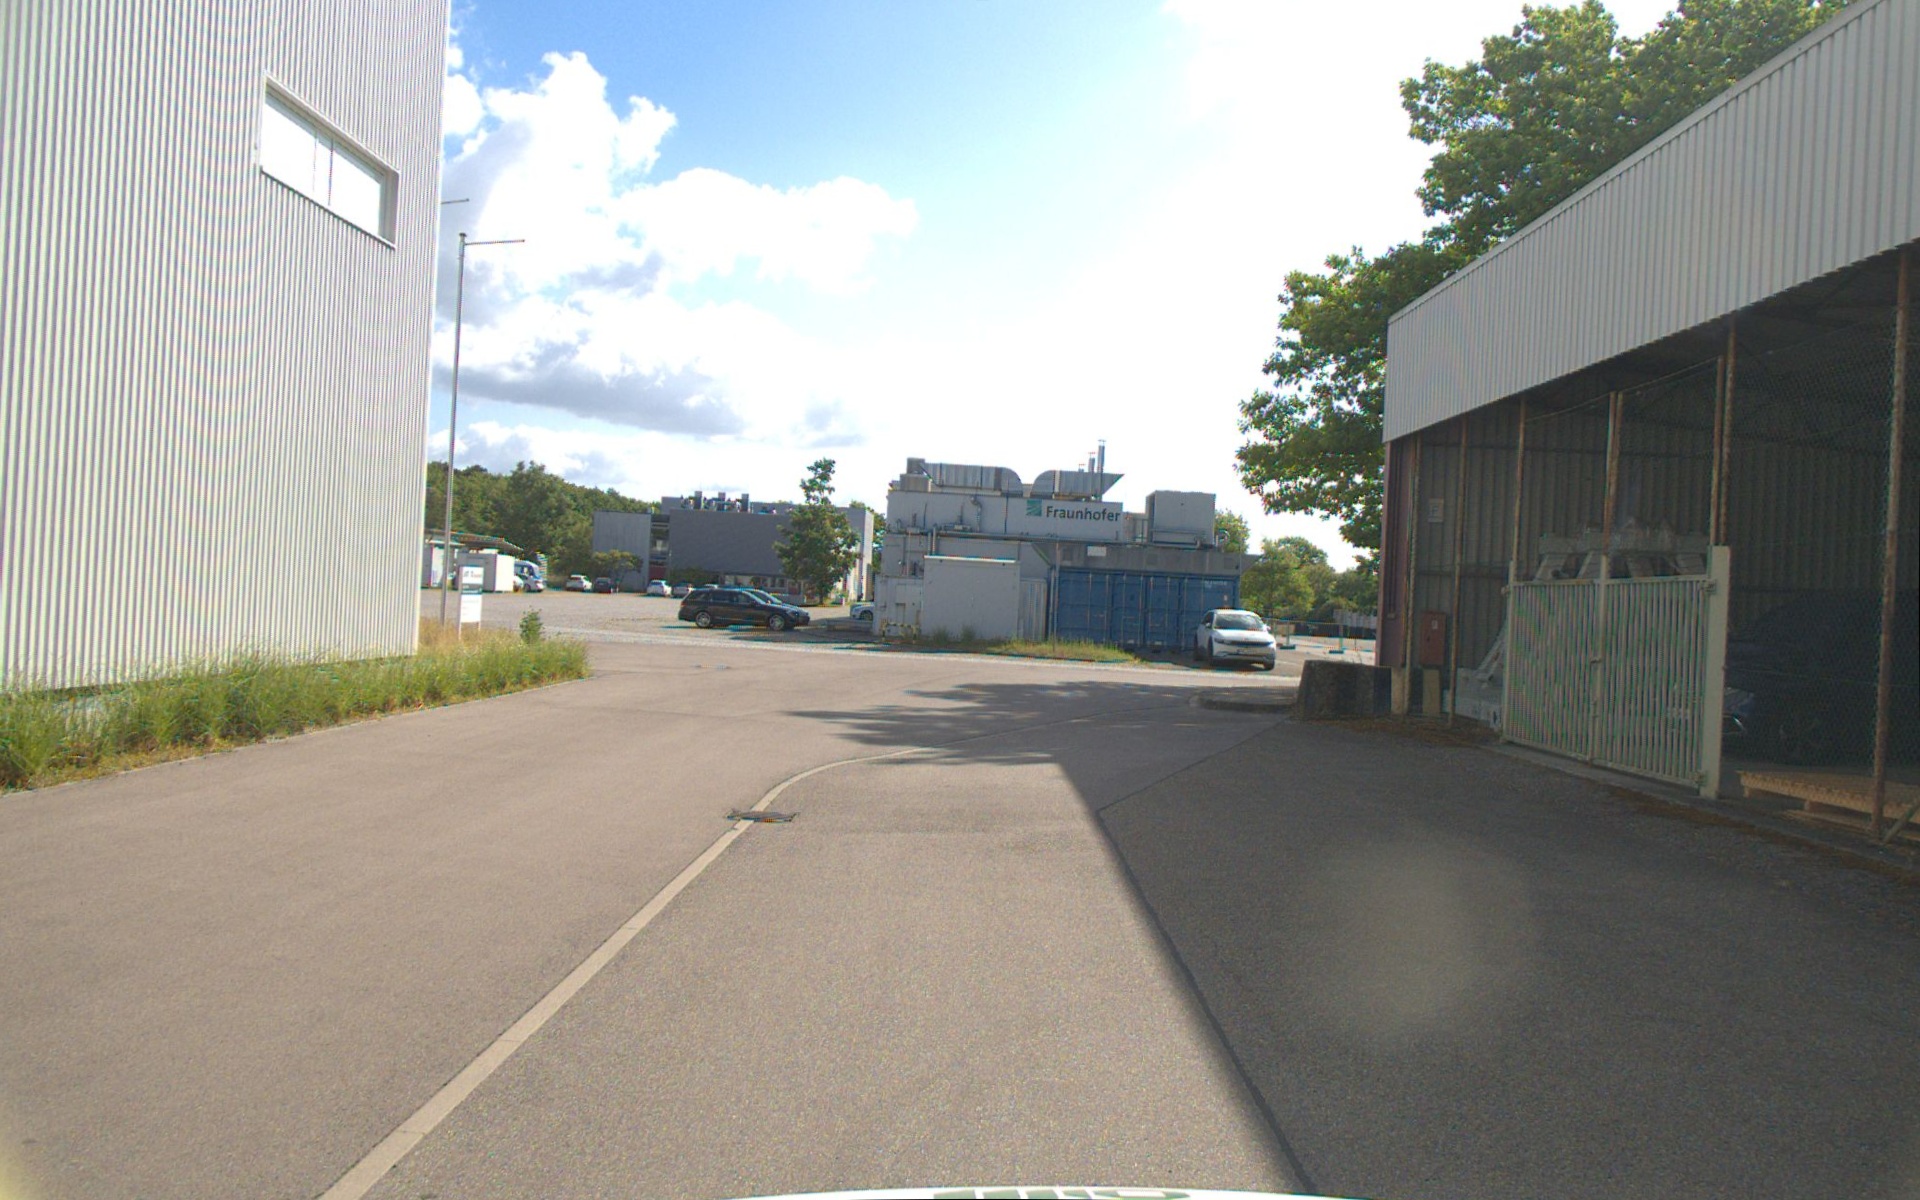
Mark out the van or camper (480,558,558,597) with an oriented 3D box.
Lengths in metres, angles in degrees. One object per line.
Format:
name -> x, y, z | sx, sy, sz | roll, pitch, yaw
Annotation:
van or camper -> -35.964, -1.835, 134.944 | 5.599, 2.979, 2.473 | 2, 0, -2

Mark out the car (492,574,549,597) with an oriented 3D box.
car -> -34.967, -1.134, 131.681 | 3.906, 1.638, 2.000 | 2, 0, -1

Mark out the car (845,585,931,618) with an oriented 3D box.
car -> -3.845, 0.082, 89.032 | 4.433, 1.534, 1.909 | 2, 0, 1

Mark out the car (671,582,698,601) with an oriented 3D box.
car -> -26.332, -0.769, 158.234 | 1.953, 1.766, 4.000 | 1, 0, 0

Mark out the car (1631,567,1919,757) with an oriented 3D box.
car -> 10.421, 0.701, 18.380 | 5.135, 1.909, 1.998 | 2, 0, -6

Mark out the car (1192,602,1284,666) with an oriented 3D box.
car -> 8.118, 0.967, 48.668 | 1.953, 1.613, 4.173 | 2, 2, 0

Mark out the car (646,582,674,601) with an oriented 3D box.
car -> -28.776, -0.802, 158.586 | 1.953, 1.766, 4.000 | 1, 0, 0

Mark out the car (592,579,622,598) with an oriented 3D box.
car -> -33.706, -1.095, 158.091 | 1.953, 1.766, 4.000 | 1, 0, 0

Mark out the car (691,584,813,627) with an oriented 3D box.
car -> -8.105, 0.213, 64.672 | 4.432, 1.534, 1.909 | 2, 0, 2

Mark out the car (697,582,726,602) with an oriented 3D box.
car -> -23.796, -0.763, 158.577 | 2.148, 1.766, 4.000 | 1, 0, 0

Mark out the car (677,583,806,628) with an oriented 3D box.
car -> -8.093, 0.195, 61.434 | 4.432, 1.534, 1.909 | 2, 0, 2

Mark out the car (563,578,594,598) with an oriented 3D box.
car -> -36.455, -1.134, 158.147 | 1.953, 1.766, 4.000 | 1, 0, 0
